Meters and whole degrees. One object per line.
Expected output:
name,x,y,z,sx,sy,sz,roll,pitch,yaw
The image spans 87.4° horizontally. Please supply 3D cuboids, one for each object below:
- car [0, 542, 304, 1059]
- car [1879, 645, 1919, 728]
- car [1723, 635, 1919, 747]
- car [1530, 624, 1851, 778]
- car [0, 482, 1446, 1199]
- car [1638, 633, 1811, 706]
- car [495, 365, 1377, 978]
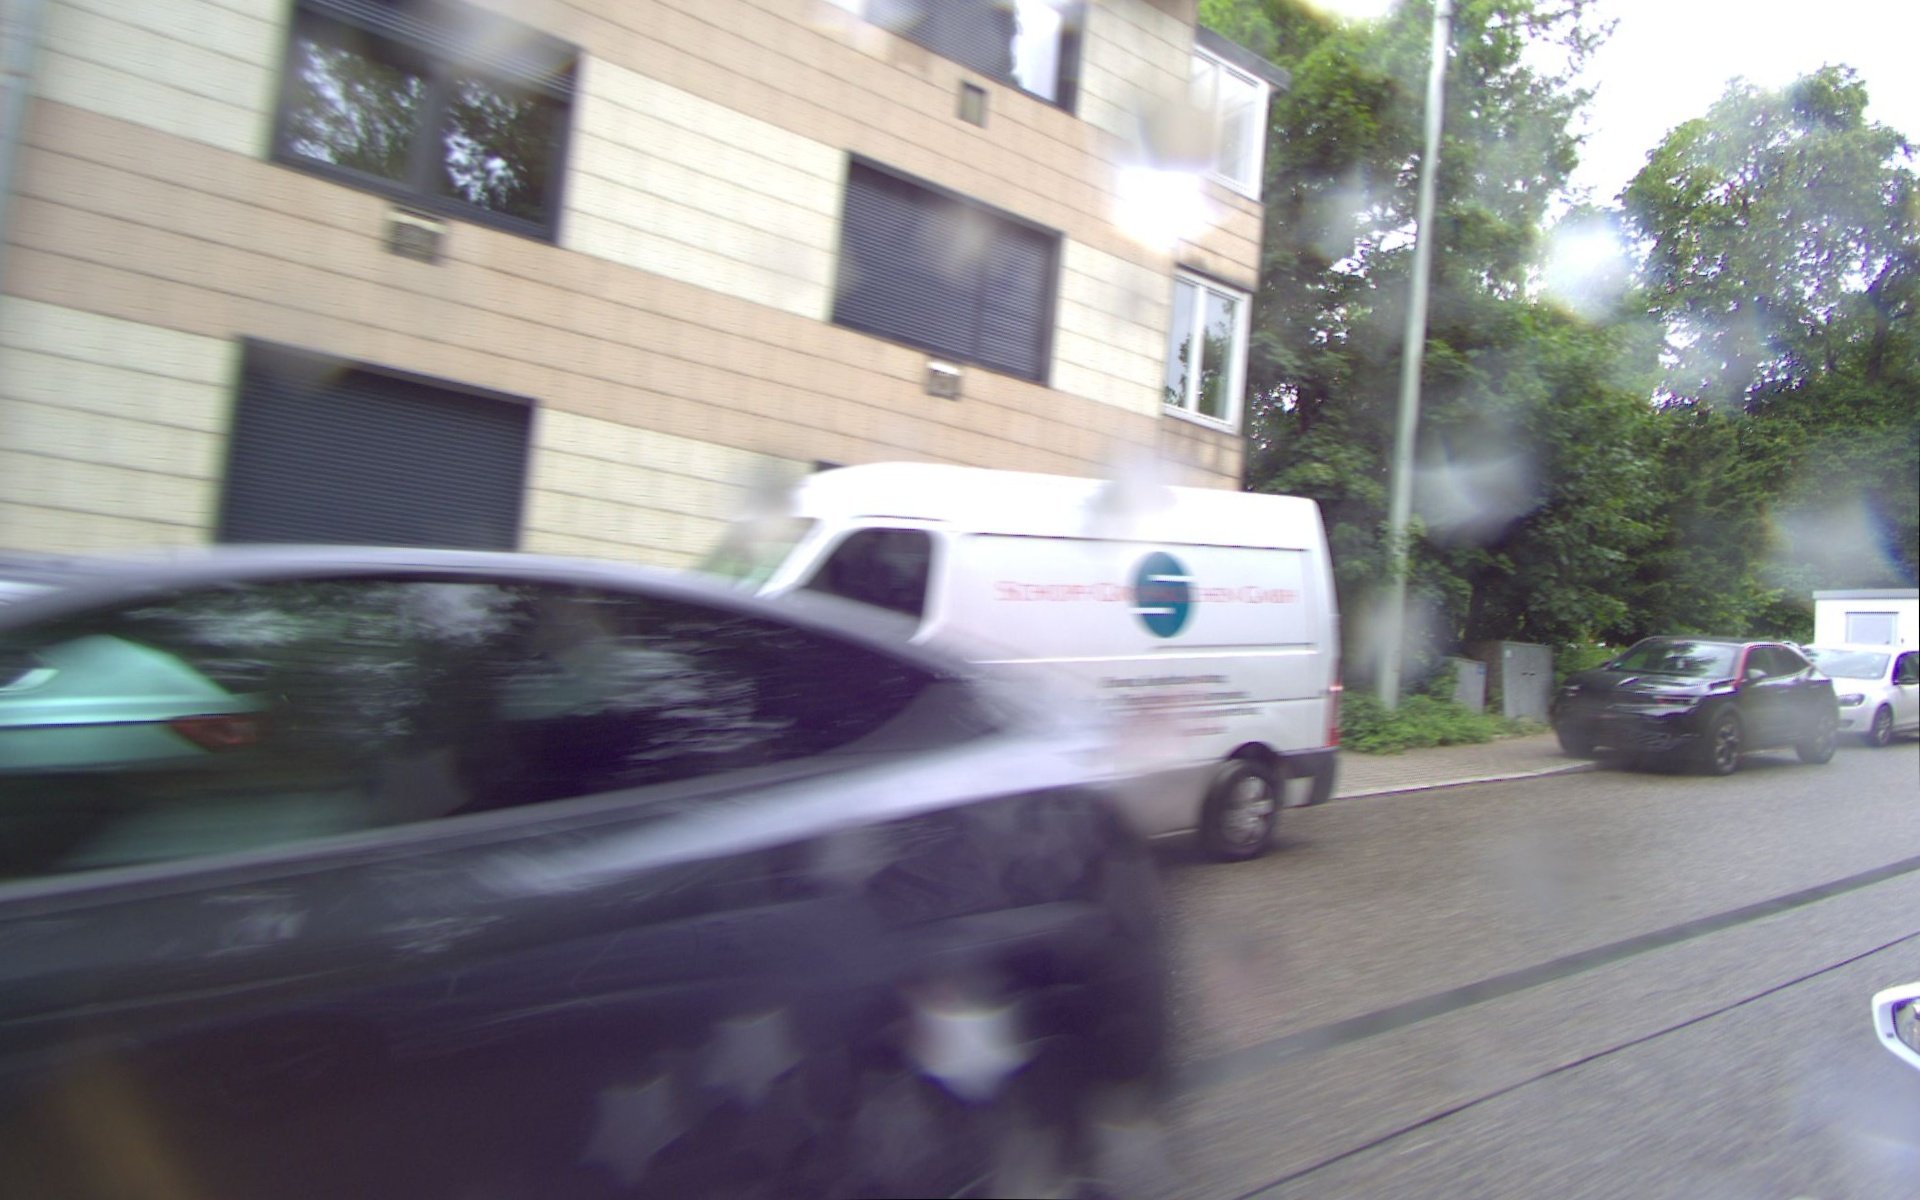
car,-5.167,0.688,3.404,4.831,1.762,1.956,2,-4,-32
car,19.759,1.613,19.381,4.705,1.512,1.849,2,-5,-34
car,14.133,1.369,16.041,4.099,1.590,1.648,2,-2,-30
car,9.076,1.176,12.416,4.136,1.625,1.637,2,-4,-30
car,-1.071,0.720,2.400,4.448,1.646,1.927,2,-2,-31
car,17.242,1.521,22.608,4.349,1.478,1.713,2,-2,-33
car,0.044,0.415,6.536,5.381,2.584,2.107,2,-4,-31
